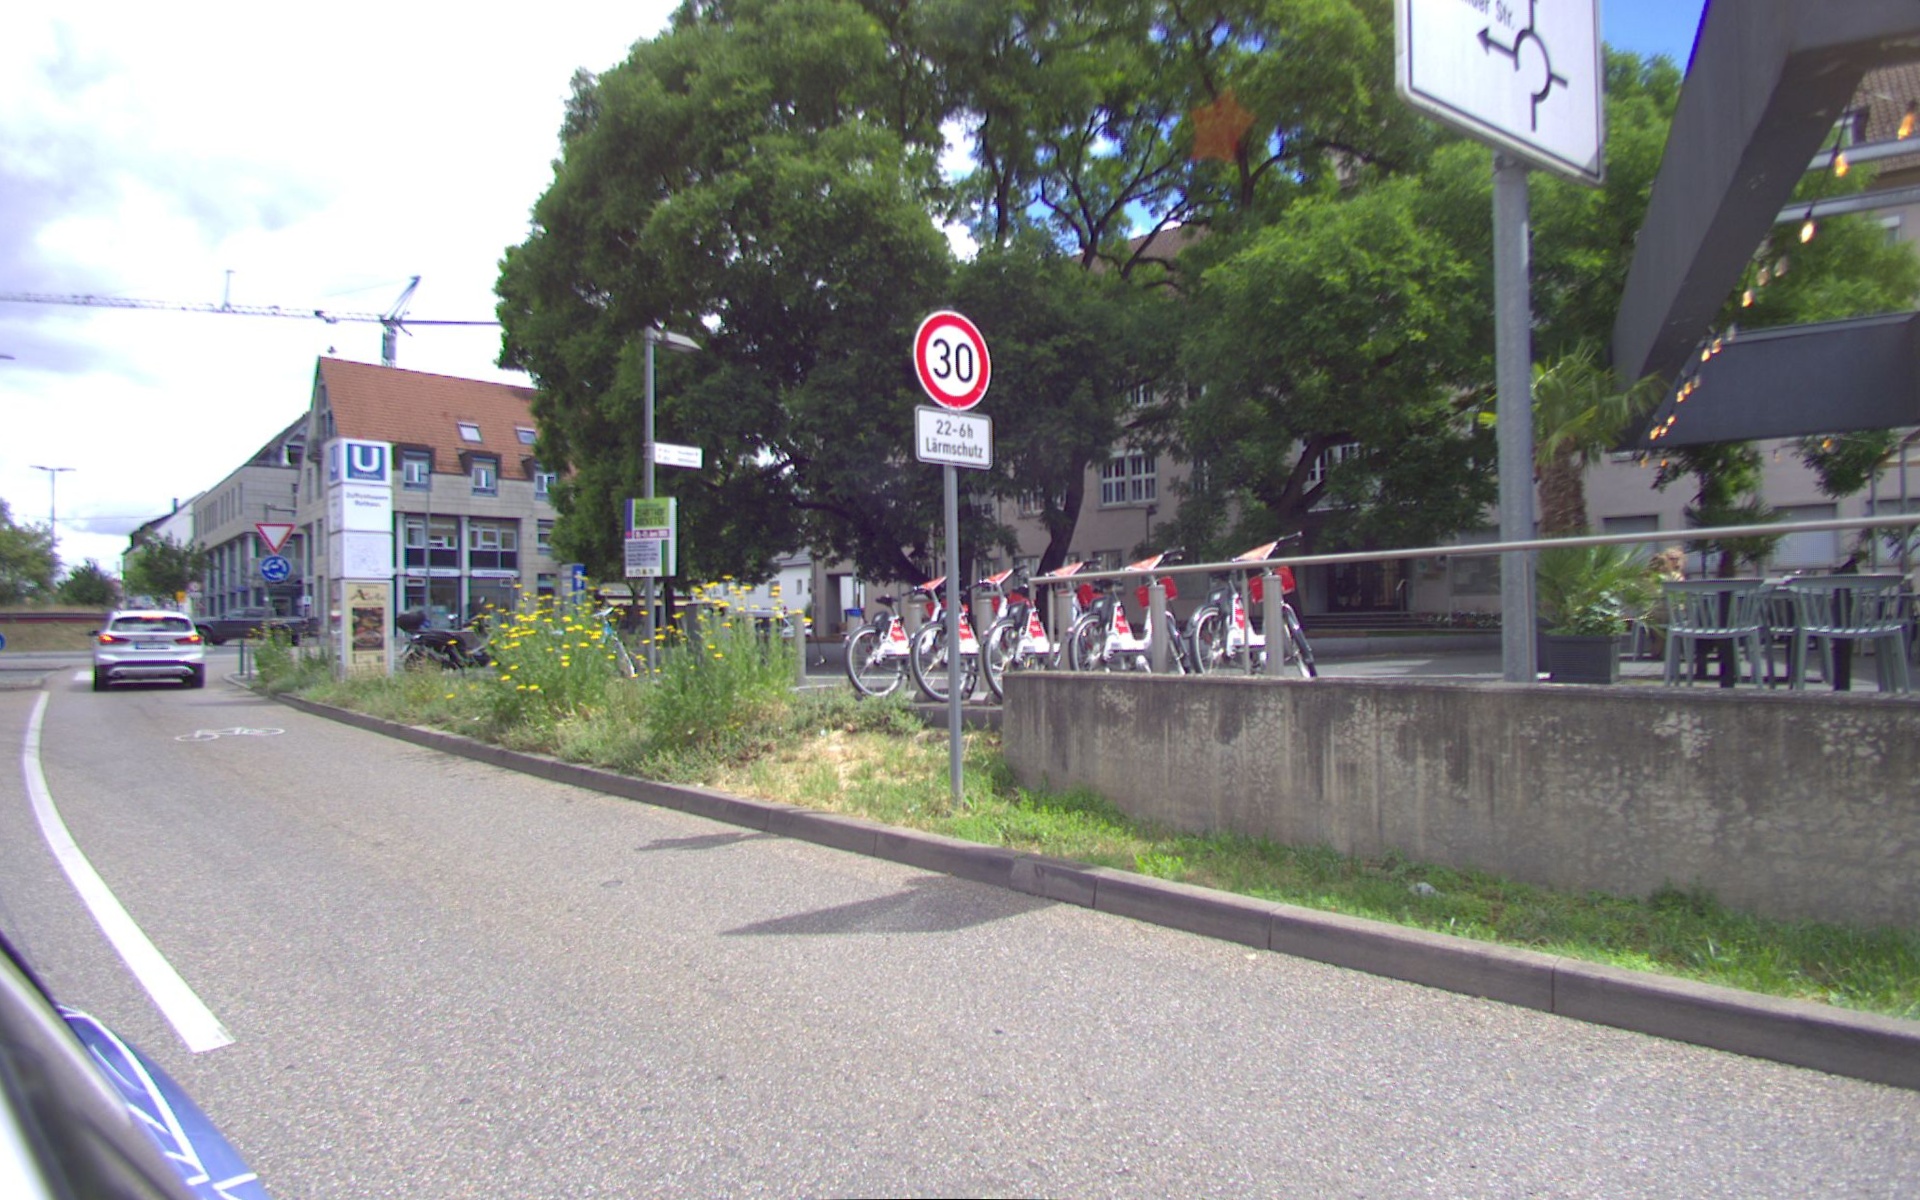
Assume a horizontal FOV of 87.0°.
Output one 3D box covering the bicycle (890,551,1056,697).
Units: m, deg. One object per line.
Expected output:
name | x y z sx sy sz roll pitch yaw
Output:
bicycle | 0.138 0.202 8.635 0.533 1.136 1.530 -2 -2 42

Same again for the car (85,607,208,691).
car | -17.239 0.994 21.385 1.800 1.597 4.171 3 -3 -41

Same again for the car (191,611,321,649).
car | -33.611 1.413 48.471 4.809 1.666 1.752 0 0 -15

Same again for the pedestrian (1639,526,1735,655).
pedestrian | 8.165 -0.103 11.404 0.789 1.390 0.792 0 0 30

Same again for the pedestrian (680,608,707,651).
pedestrian | -10.762 1.192 40.894 0.816 1.688 0.682 -3 -2 39

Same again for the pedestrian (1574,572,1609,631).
pedestrian | 14.623 0.024 23.428 0.593 1.348 0.635 0 0 42

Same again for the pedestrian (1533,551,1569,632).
pedestrian | 13.498 -0.199 23.120 0.593 1.821 0.635 0 0 42

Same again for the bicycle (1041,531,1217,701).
bicycle | 1.278 0.124 7.473 0.533 1.136 1.530 -2 -2 42

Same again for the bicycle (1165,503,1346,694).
bicycle | 2.006 0.008 6.768 0.533 1.136 1.530 -2 -2 42

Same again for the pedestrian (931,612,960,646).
pedestrian | -0.538 1.061 37.206 0.690 1.235 0.807 -3 -2 38

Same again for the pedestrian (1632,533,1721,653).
pedestrian | 8.666 -0.088 12.277 0.789 1.390 0.792 0 0 30

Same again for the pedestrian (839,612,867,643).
pedestrian | -4.254 1.094 40.173 0.690 1.184 0.807 -3 -2 38

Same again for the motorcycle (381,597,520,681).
motorcycle | -9.307 0.700 18.565 0.648 1.460 2.166 0 -1 41

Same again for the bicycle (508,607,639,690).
bicycle | -5.351 0.664 14.090 0.514 1.090 1.670 -4 -3 38

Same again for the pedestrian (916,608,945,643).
pedestrian | -1.105 0.948 37.677 0.690 1.235 0.807 -3 -2 38

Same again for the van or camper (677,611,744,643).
van or camper | -19.014 2.055 77.206 4.637 2.400 1.988 -1 -1 18

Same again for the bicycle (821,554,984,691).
bicycle | -0.489 0.205 9.100 0.533 1.136 1.530 -2 -2 42

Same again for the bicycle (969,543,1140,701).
bicycle | 0.778 0.173 8.020 0.533 1.136 1.530 -2 -2 42

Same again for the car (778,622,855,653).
car | -8.114 2.097 57.366 4.012 1.551 1.749 -1 1 -40

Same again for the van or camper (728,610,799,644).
van or camper | -14.092 1.951 72.485 4.637 2.400 1.988 -1 -1 18

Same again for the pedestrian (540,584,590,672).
pedestrian | -7.557 0.536 19.357 0.651 1.641 0.801 0 -2 -40
